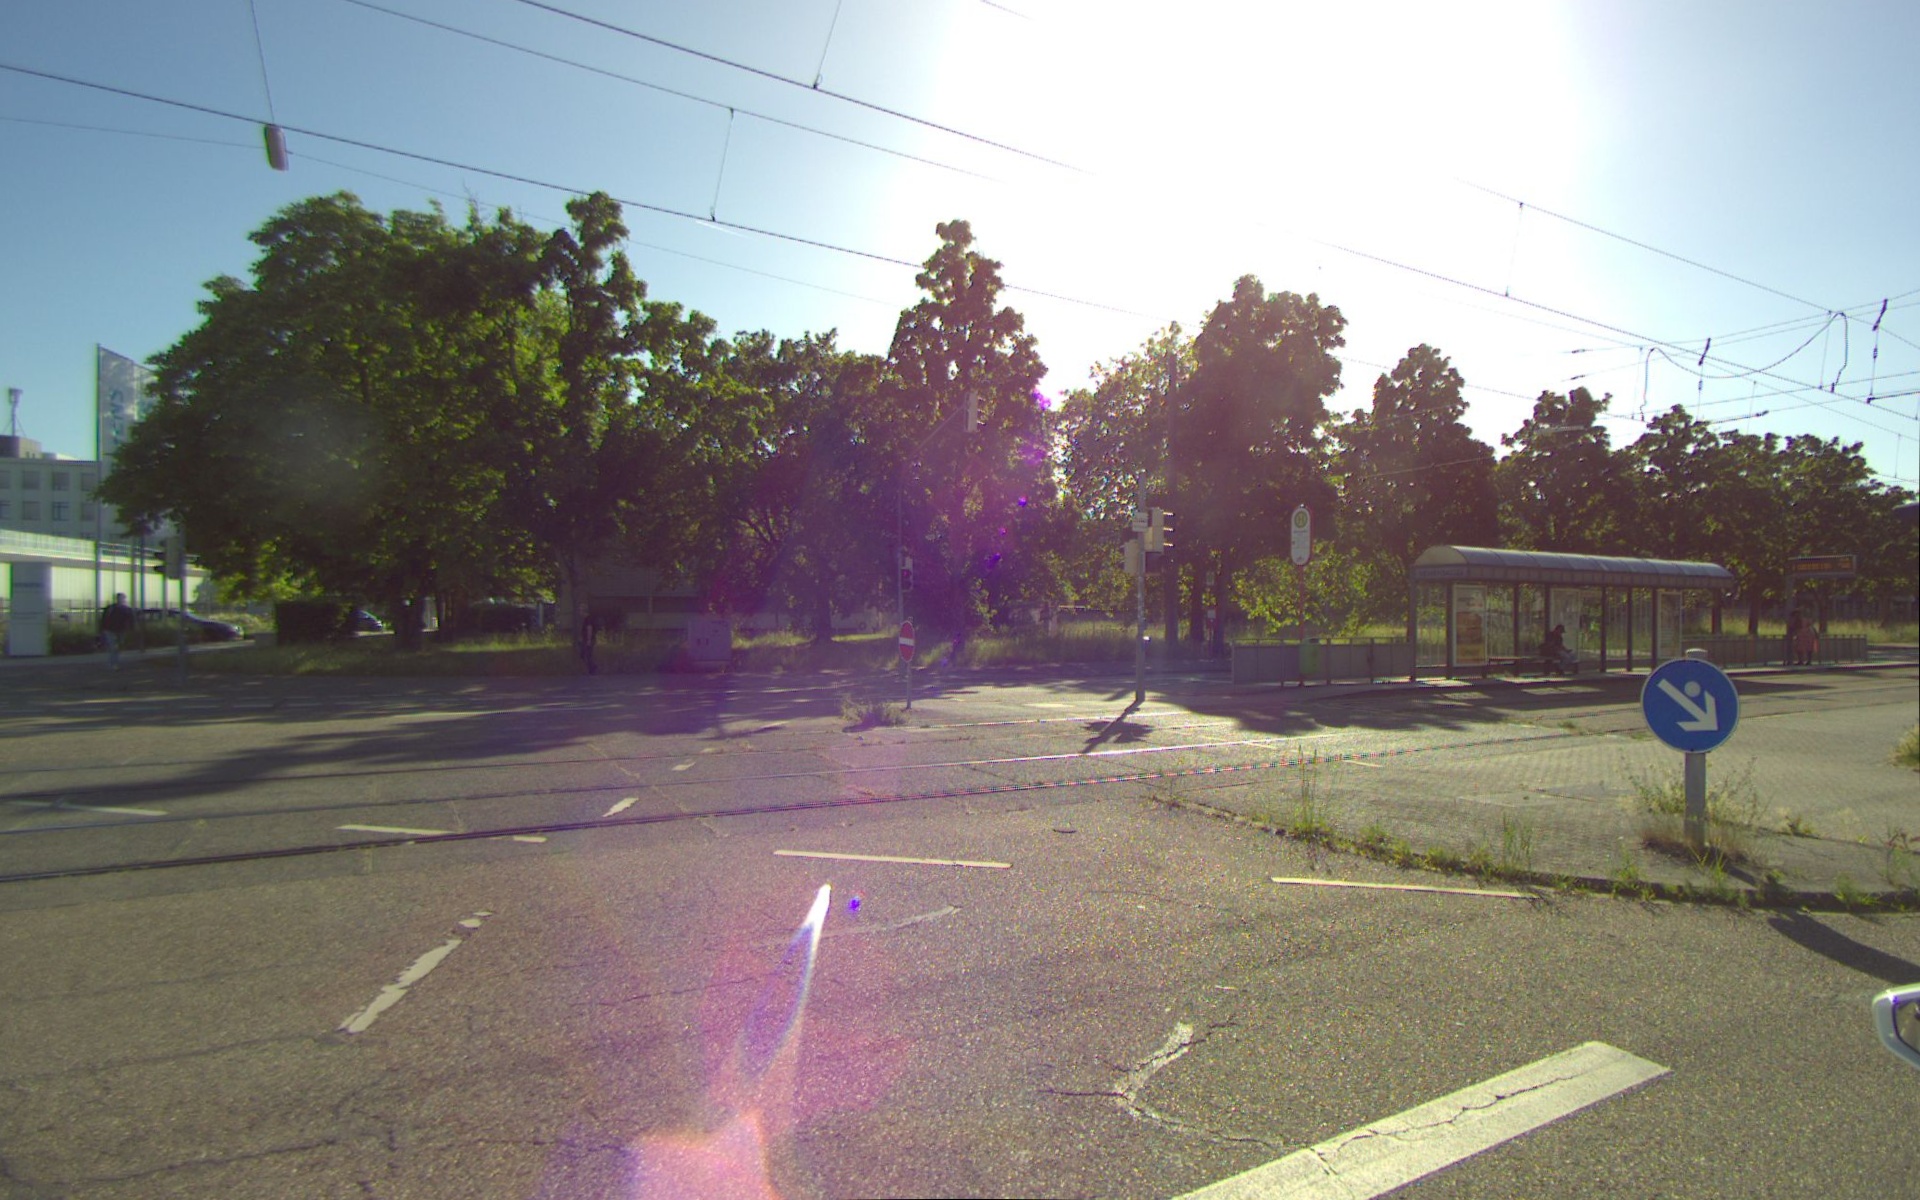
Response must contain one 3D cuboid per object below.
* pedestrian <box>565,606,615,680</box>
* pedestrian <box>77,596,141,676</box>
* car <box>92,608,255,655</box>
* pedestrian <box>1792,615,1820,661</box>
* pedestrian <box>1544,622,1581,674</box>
[{"bbox_3d":[-8.983,1.043,24.421,0.919,1.757,0.761,0,-1,-1],"label":"pedestrian"},{"bbox_3d":[-19.925,0.834,23.539,0.807,1.811,0.950,1,-1,-15],"label":"pedestrian"},{"bbox_3d":[-31.951,1.280,40.986,4.767,1.751,2.042,2,0,-21],"label":"car"},{"bbox_3d":[27.203,1.231,32.291,0.553,1.466,0.542,2,-2,-30],"label":"pedestrian"},{"bbox_3d":[14.889,1.180,24.817,0.574,1.273,0.561,2,-3,-30],"label":"pedestrian"}]
